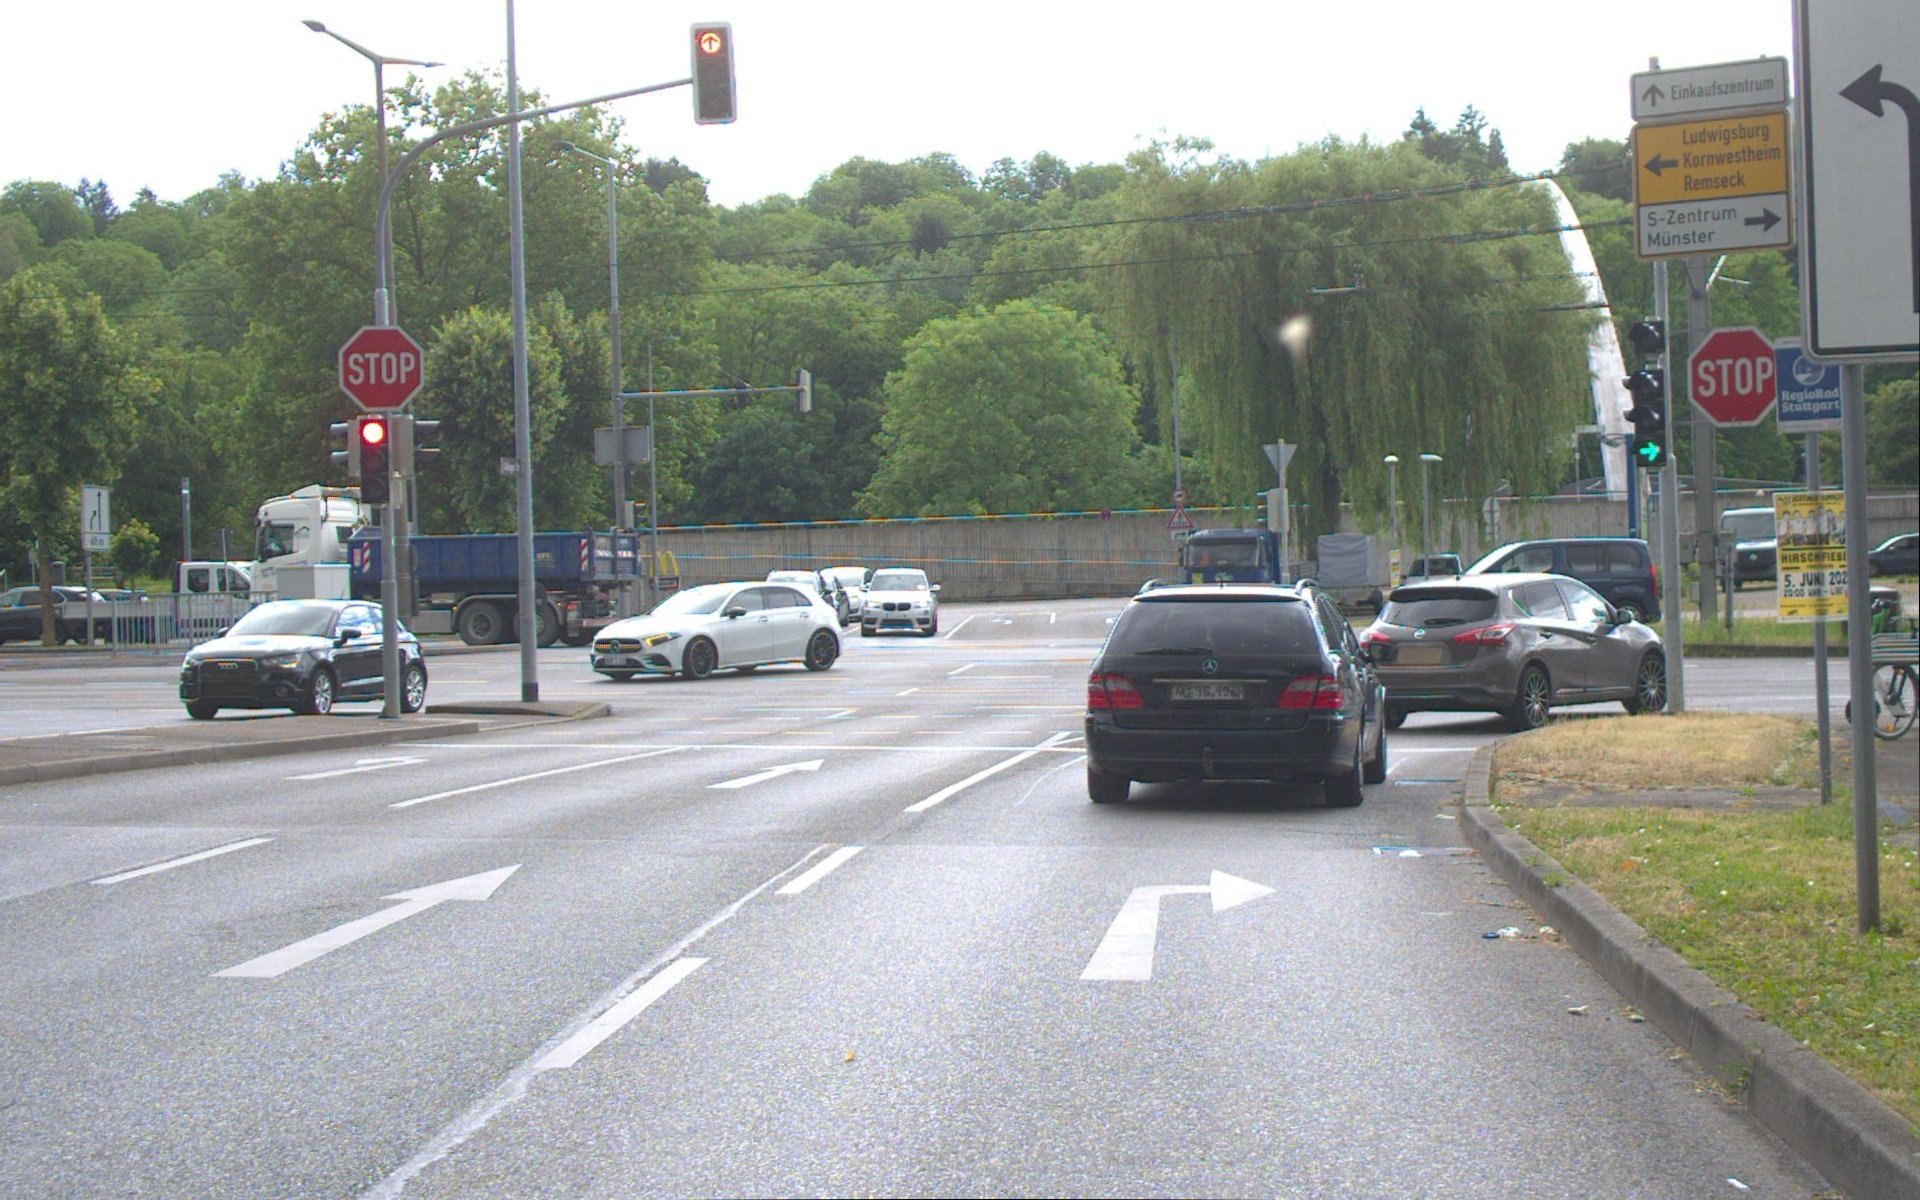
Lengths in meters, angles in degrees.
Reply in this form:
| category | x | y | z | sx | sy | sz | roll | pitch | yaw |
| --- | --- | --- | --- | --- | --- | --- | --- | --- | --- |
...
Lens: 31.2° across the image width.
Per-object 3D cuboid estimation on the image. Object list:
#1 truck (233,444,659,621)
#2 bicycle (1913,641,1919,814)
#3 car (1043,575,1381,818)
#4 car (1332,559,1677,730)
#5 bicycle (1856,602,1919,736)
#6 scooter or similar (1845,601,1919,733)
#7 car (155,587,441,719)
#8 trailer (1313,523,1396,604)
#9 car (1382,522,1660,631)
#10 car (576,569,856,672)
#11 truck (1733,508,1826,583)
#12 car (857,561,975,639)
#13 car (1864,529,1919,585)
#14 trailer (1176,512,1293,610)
| category | x | y | z | sx | sy | sz | roll | pitch | yaw |
| --- | --- | --- | --- | --- | --- | --- | --- | --- | --- |
| truck | -11.765 | -1.494 | 78.657 | 9.108 | 3.575 | 3.216 | -2 | 0 | 20 |
| bicycle | 7.023 | 0.806 | 21.864 | 1.779 | 1.107 | 0.540 | -1 | -2 | 7 |
| car | 1.843 | 0.589 | 23.778 | 1.823 | 1.504 | 4.572 | 0 | 0 | 11 |
| car | 5.524 | 0.414 | 34.487 | 1.730 | 1.525 | 4.140 | -1 | 1 | 35 |
| bicycle | 8.526 | 0.572 | 29.230 | 1.690 | 1.107 | 0.479 | -1 | 2 | 7 |
| scooter or similar | 8.552 | 0.592 | 30.808 | 1.182 | 1.165 | 0.294 | -1 | 0 | 15 |
| car | -7.881 | 0.603 | 41.266 | 1.617 | 1.411 | 3.892 | -1 | 1 | 19 |
| trailer | 11.241 | -1.025 | 97.719 | 1.994 | 2.176 | 3.998 | -2 | 0 | 10 |
| car | 9.927 | -0.421 | 60.975 | 4.543 | 1.768 | 1.608 | -2 | 1 | -10 |
| car | -3.673 | 0.297 | 52.361 | 1.604 | 1.401 | 4.281 | -1 | 1 | 43 |
| truck | 23.465 | -1.533 | 98.598 | 2.236 | 2.007 | 5.238 | -2 | 0 | 10 |
| car | -1.102 | -0.012 | 88.095 | 1.995 | 1.853 | 3.998 | -1 | 1 | 15 |
| car | 31.827 | -1.454 | 114.387 | 3.151 | 1.812 | 1.403 | -2 | 0 | 7 |
| trailer | 7.708 | -1.067 | 96.138 | 2.353 | 2.573 | 4.916 | -2 | 0 | 15 |
